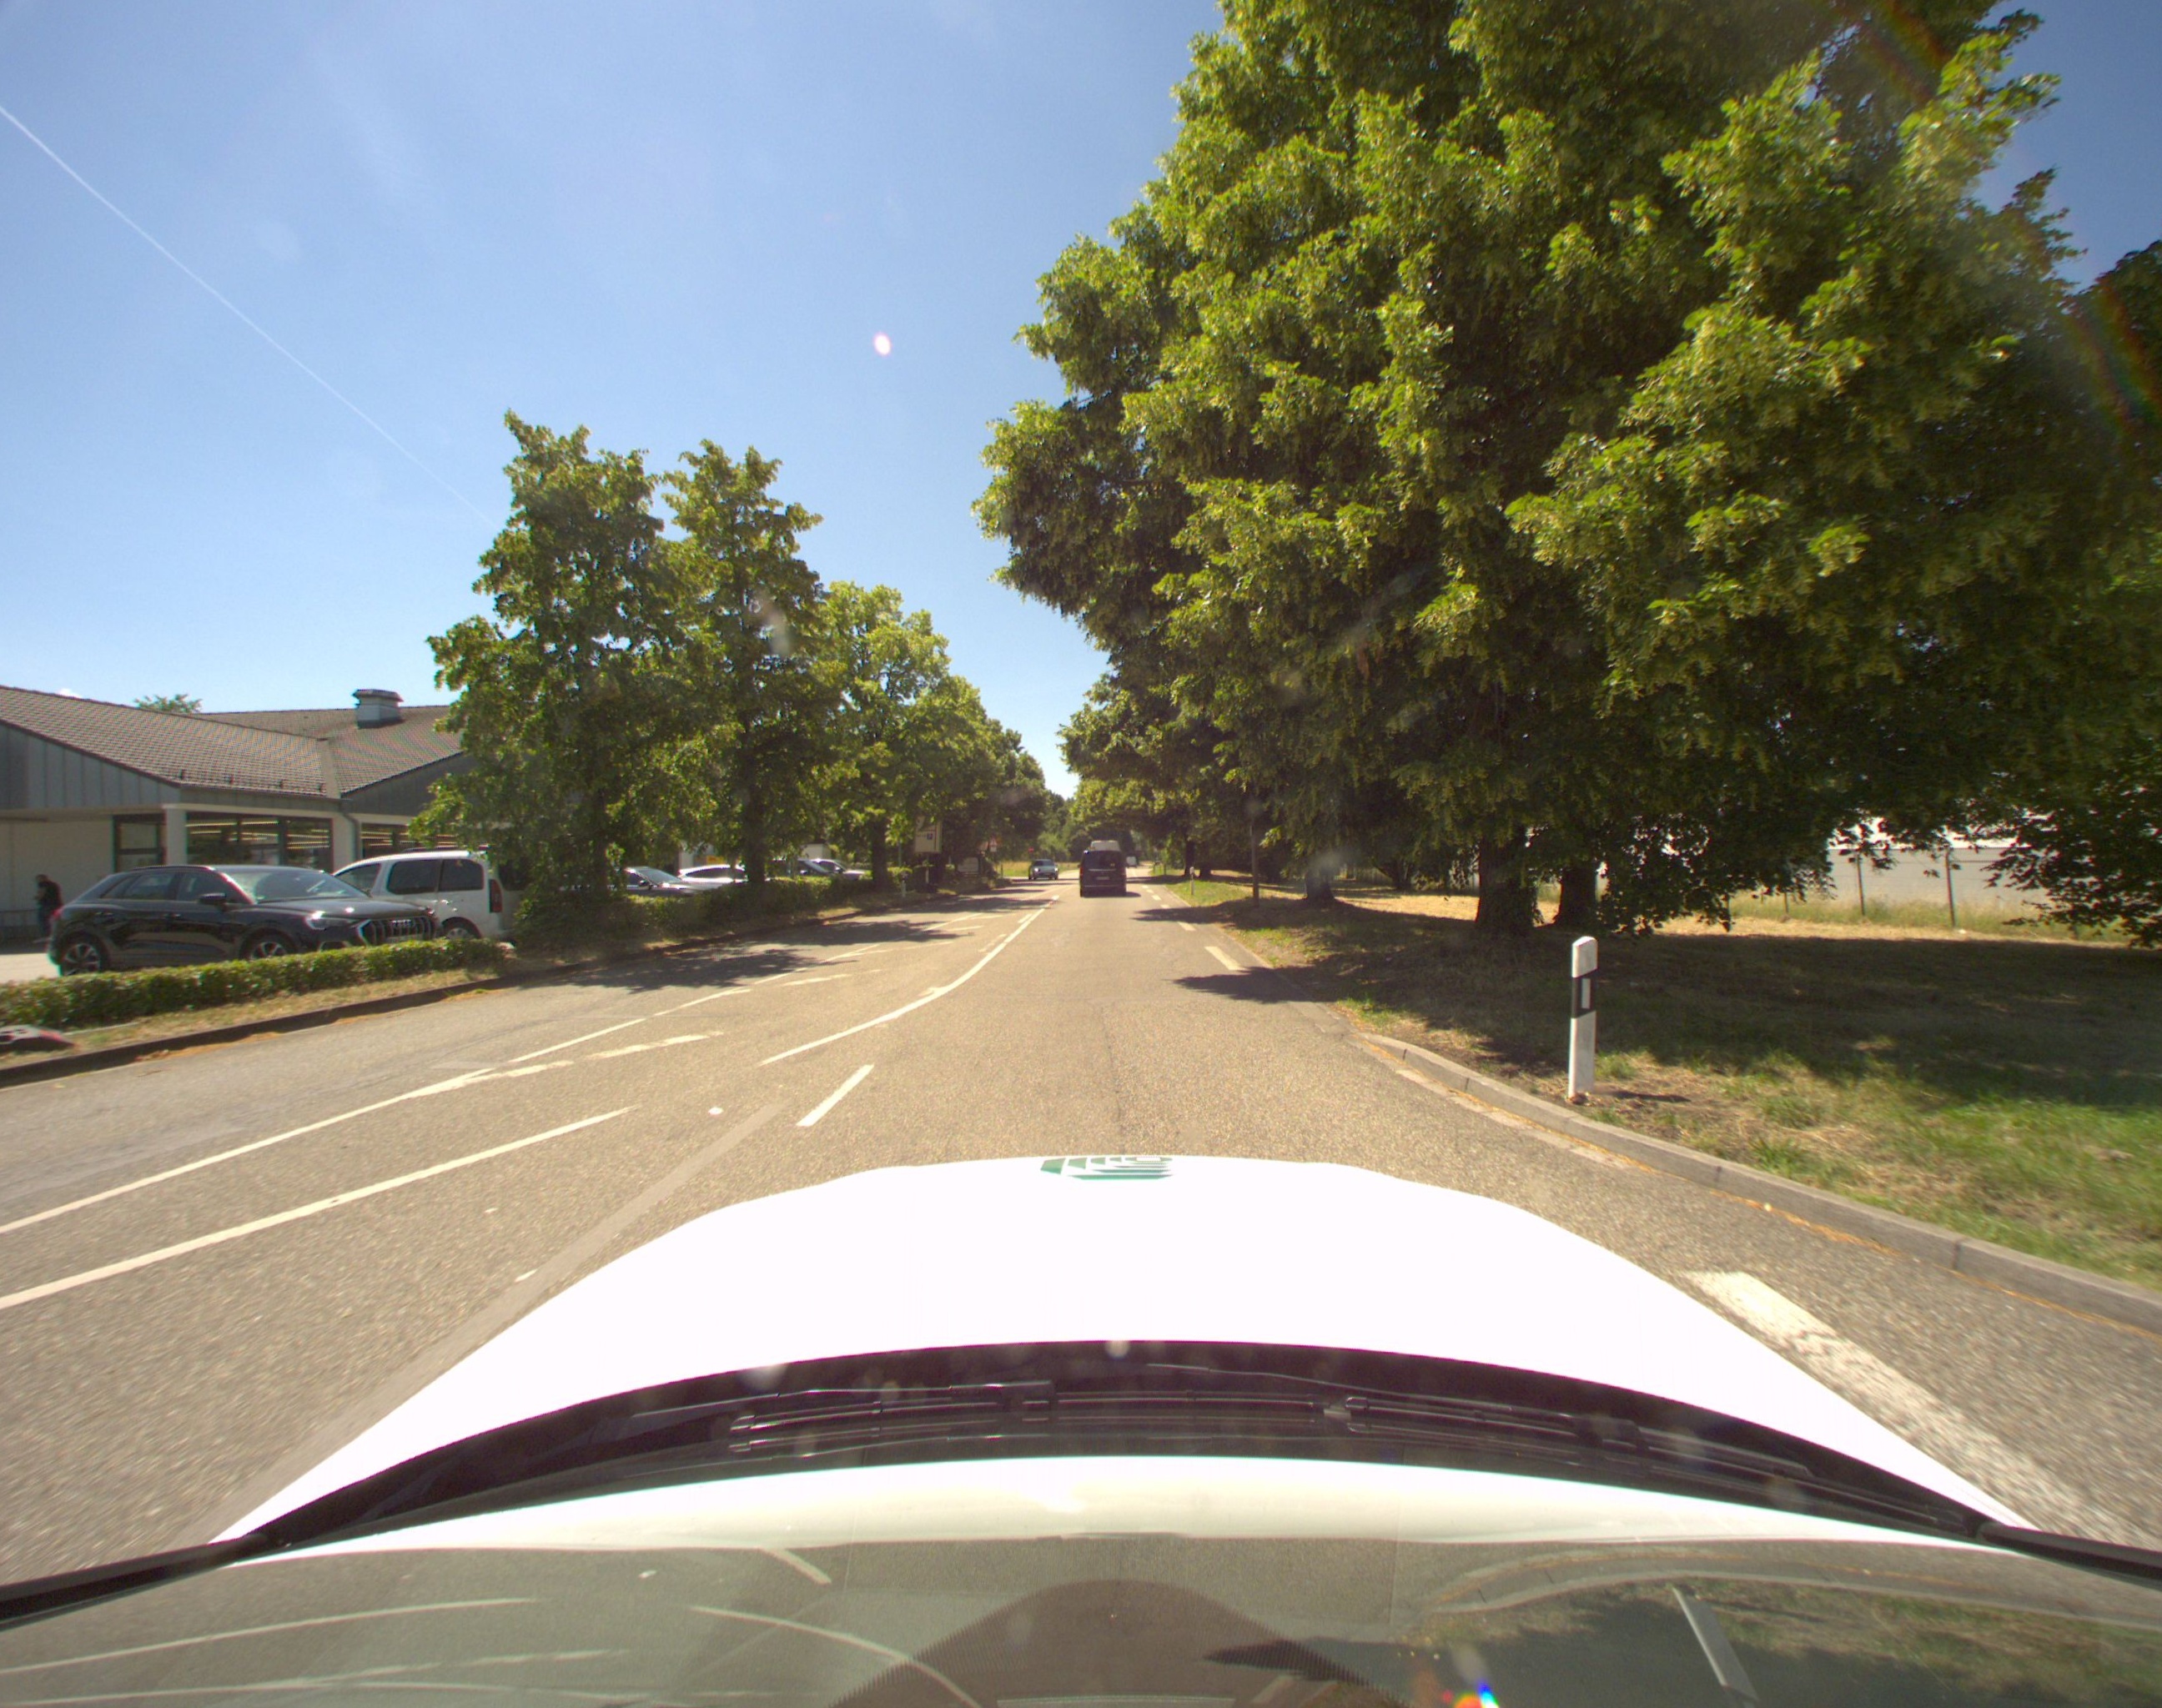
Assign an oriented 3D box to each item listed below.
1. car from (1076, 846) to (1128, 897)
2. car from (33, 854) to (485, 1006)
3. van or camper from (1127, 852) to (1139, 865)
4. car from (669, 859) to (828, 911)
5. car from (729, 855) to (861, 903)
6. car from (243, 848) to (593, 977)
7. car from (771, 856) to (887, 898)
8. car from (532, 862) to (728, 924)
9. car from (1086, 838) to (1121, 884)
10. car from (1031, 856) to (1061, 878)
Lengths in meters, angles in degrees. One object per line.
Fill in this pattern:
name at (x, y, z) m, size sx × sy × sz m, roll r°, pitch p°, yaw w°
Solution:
car at (0.942, 0.693, 33.887) m, size 1.985 × 1.952 × 5.008 m, roll 0°, pitch 0°, yaw 3°
car at (-11.076, 0.969, 11.192) m, size 4.361 × 1.845 × 2.108 m, roll -1°, pitch -1°, yaw 7°
van or camper at (12.236, 1.140, 191.847) m, size 2.621 × 2.929 × 5.210 m, roll 0°, pitch -1°, yaw 3°
car at (-10.819, 0.989, 26.740) m, size 4.386 × 1.620 × 1.895 m, roll 0°, pitch 0°, yaw 0°
car at (-11.016, 0.950, 31.610) m, size 4.386 × 1.776 × 2.072 m, roll 0°, pitch 0°, yaw 0°
car at (-11.108, 0.933, 13.909) m, size 4.343 × 1.980 × 1.904 m, roll -1°, pitch -1°, yaw -1°
car at (-10.921, 0.988, 35.512) m, size 4.386 × 1.776 × 2.072 m, roll 0°, pitch 0°, yaw 0°
car at (-11.683, 0.991, 21.308) m, size 4.015 × 1.525 × 1.934 m, roll 0°, pitch 0°, yaw 0°
car at (1.461, 0.406, 50.388) m, size 2.070 × 2.702 × 4.669 m, roll 0°, pitch 0°, yaw 3°
car at (-2.724, 0.976, 62.718) m, size 2.091 × 1.588 × 4.466 m, roll 0°, pitch 0°, yaw -6°
